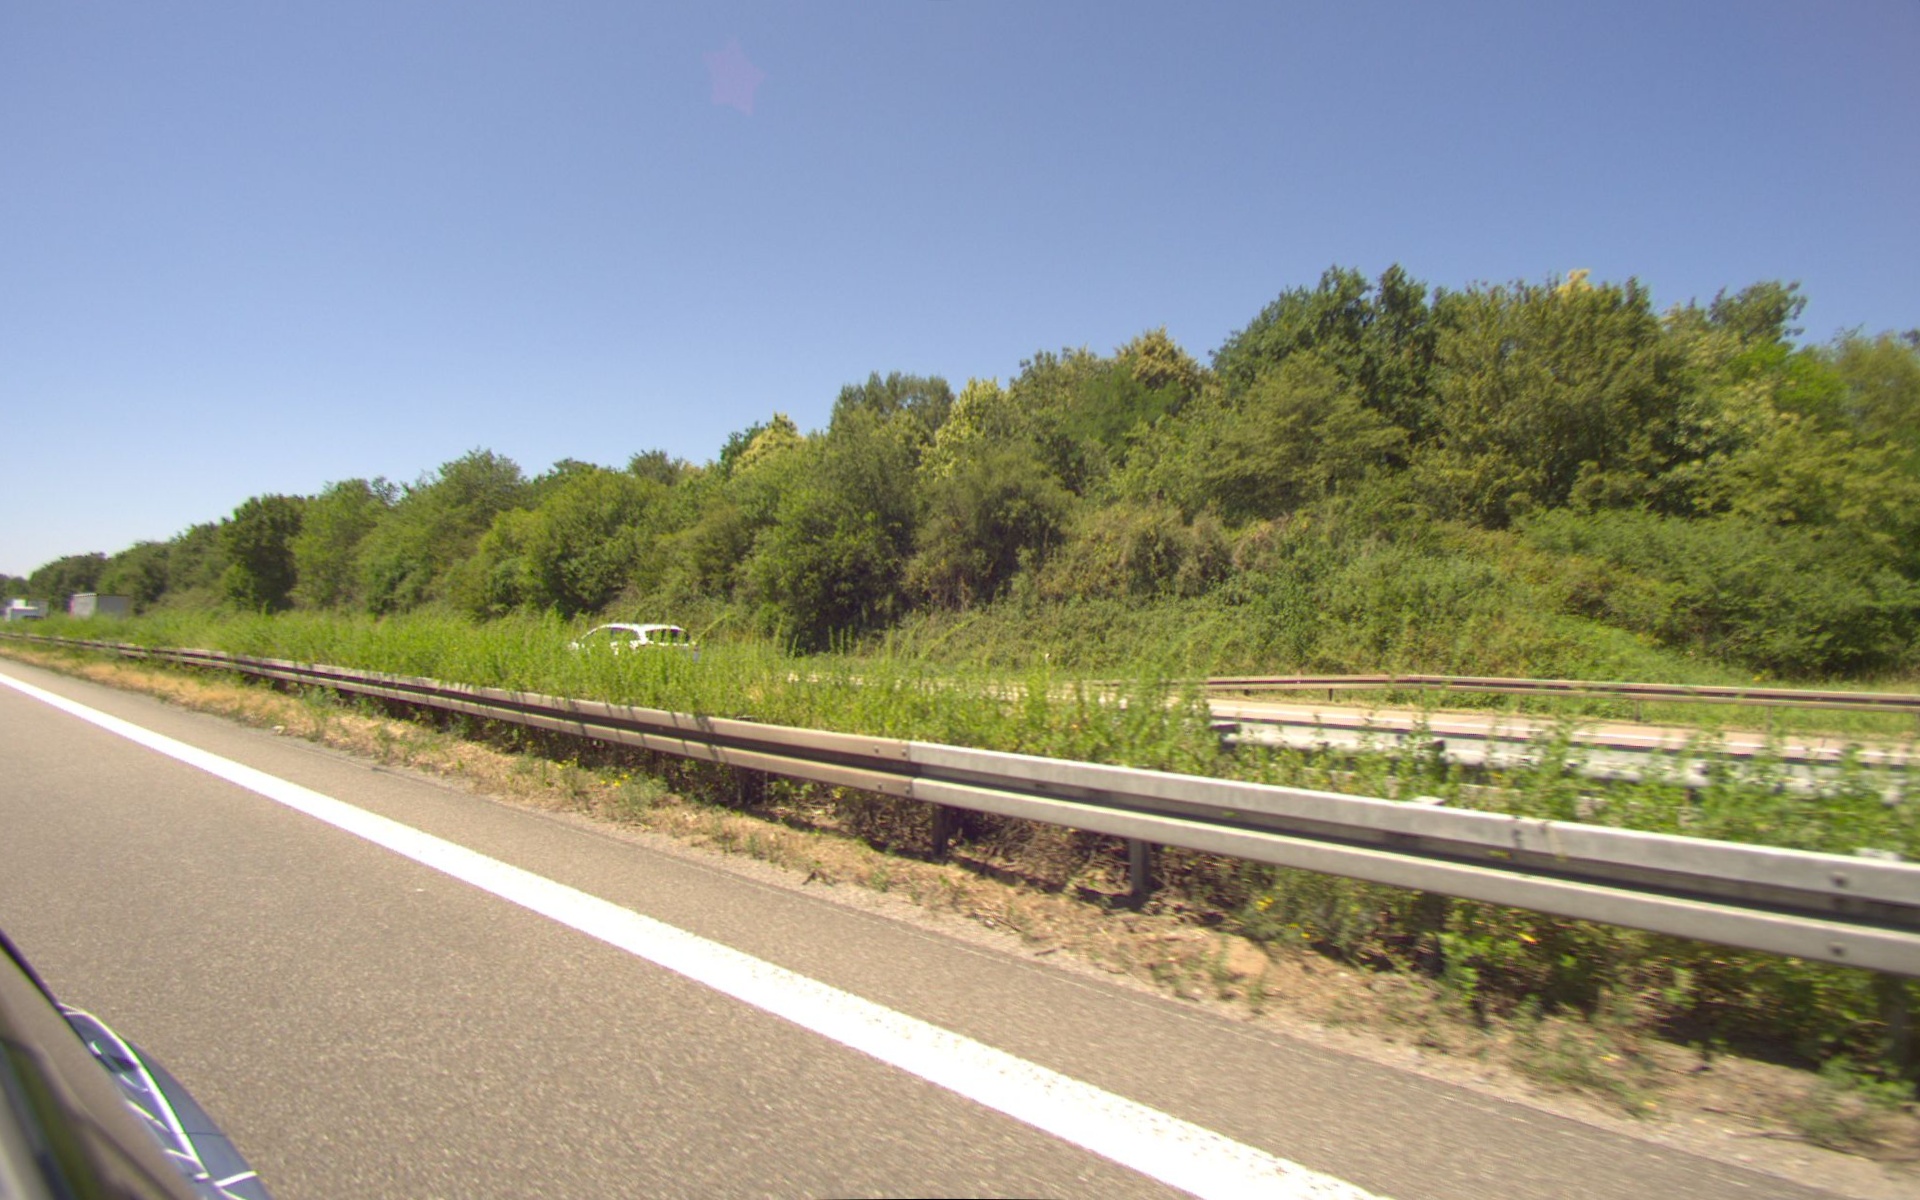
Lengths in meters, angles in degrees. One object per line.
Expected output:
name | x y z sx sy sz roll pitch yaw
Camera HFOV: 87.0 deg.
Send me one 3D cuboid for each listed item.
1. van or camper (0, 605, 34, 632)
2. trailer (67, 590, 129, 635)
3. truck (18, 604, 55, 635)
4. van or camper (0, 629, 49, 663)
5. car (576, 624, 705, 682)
van or camper | -109.685 2.110 117.499 7.859 2.989 2.584 -1 0 43
trailer | -88.921 1.288 104.294 14.478 4.280 3.110 -1 0 43
truck | -126.413 2.653 138.552 5.942 4.180 3.160 -1 0 42
van or camper | -77.302 3.744 83.624 6.454 2.646 2.100 -1 -2 40
car | -7.907 1.256 24.896 3.584 1.261 1.380 -1 1 42
